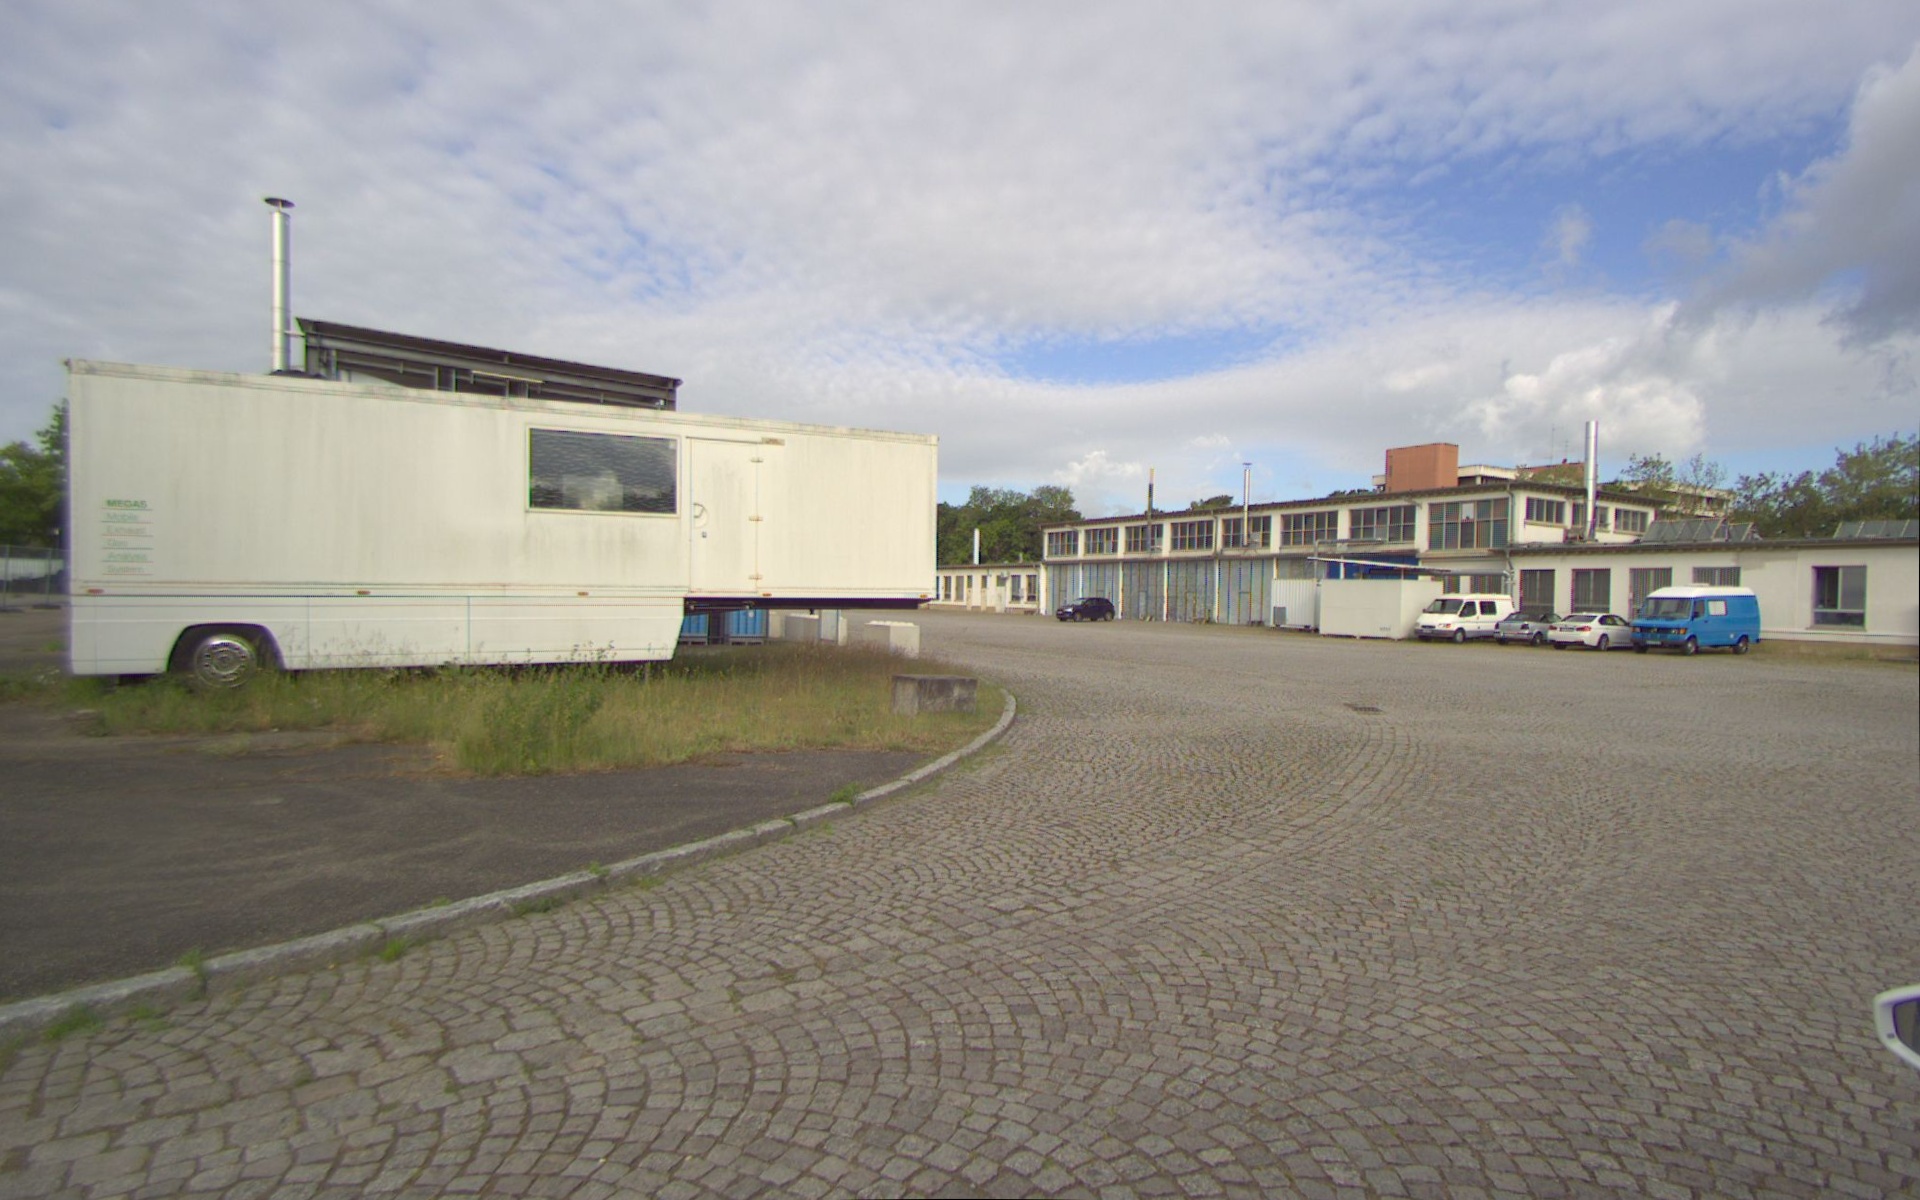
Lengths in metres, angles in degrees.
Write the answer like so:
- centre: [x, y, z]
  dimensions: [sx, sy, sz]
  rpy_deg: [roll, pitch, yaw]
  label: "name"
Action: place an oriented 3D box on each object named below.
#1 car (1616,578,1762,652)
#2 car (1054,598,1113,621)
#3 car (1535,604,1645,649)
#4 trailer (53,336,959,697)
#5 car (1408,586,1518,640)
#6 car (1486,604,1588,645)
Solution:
- centre: [26.785, 0.569, 36.870]
  dimensions: [5.545, 2.557, 1.986]
  rpy_deg: [1, 0, -27]
  label: "car"
- centre: [8.273, 0.625, 67.349]
  dimensions: [3.680, 1.429, 1.657]
  rpy_deg: [1, 0, -30]
  label: "car"
- centre: [24.313, 1.016, 38.735]
  dimensions: [3.951, 1.596, 1.893]
  rpy_deg: [1, 0, -29]
  label: "car"
- centre: [-5.325, -0.781, 14.109]
  dimensions: [10.585, 3.755, 2.646]
  rpy_deg: [1, 0, -28]
  label: "trailer"
- centre: [22.016, 0.581, 43.937]
  dimensions: [4.721, 2.236, 1.893]
  rpy_deg: [1, 0, -27]
  label: "car"
- centre: [23.868, 1.028, 41.550]
  dimensions: [3.951, 1.596, 1.893]
  rpy_deg: [1, 0, -29]
  label: "car"
